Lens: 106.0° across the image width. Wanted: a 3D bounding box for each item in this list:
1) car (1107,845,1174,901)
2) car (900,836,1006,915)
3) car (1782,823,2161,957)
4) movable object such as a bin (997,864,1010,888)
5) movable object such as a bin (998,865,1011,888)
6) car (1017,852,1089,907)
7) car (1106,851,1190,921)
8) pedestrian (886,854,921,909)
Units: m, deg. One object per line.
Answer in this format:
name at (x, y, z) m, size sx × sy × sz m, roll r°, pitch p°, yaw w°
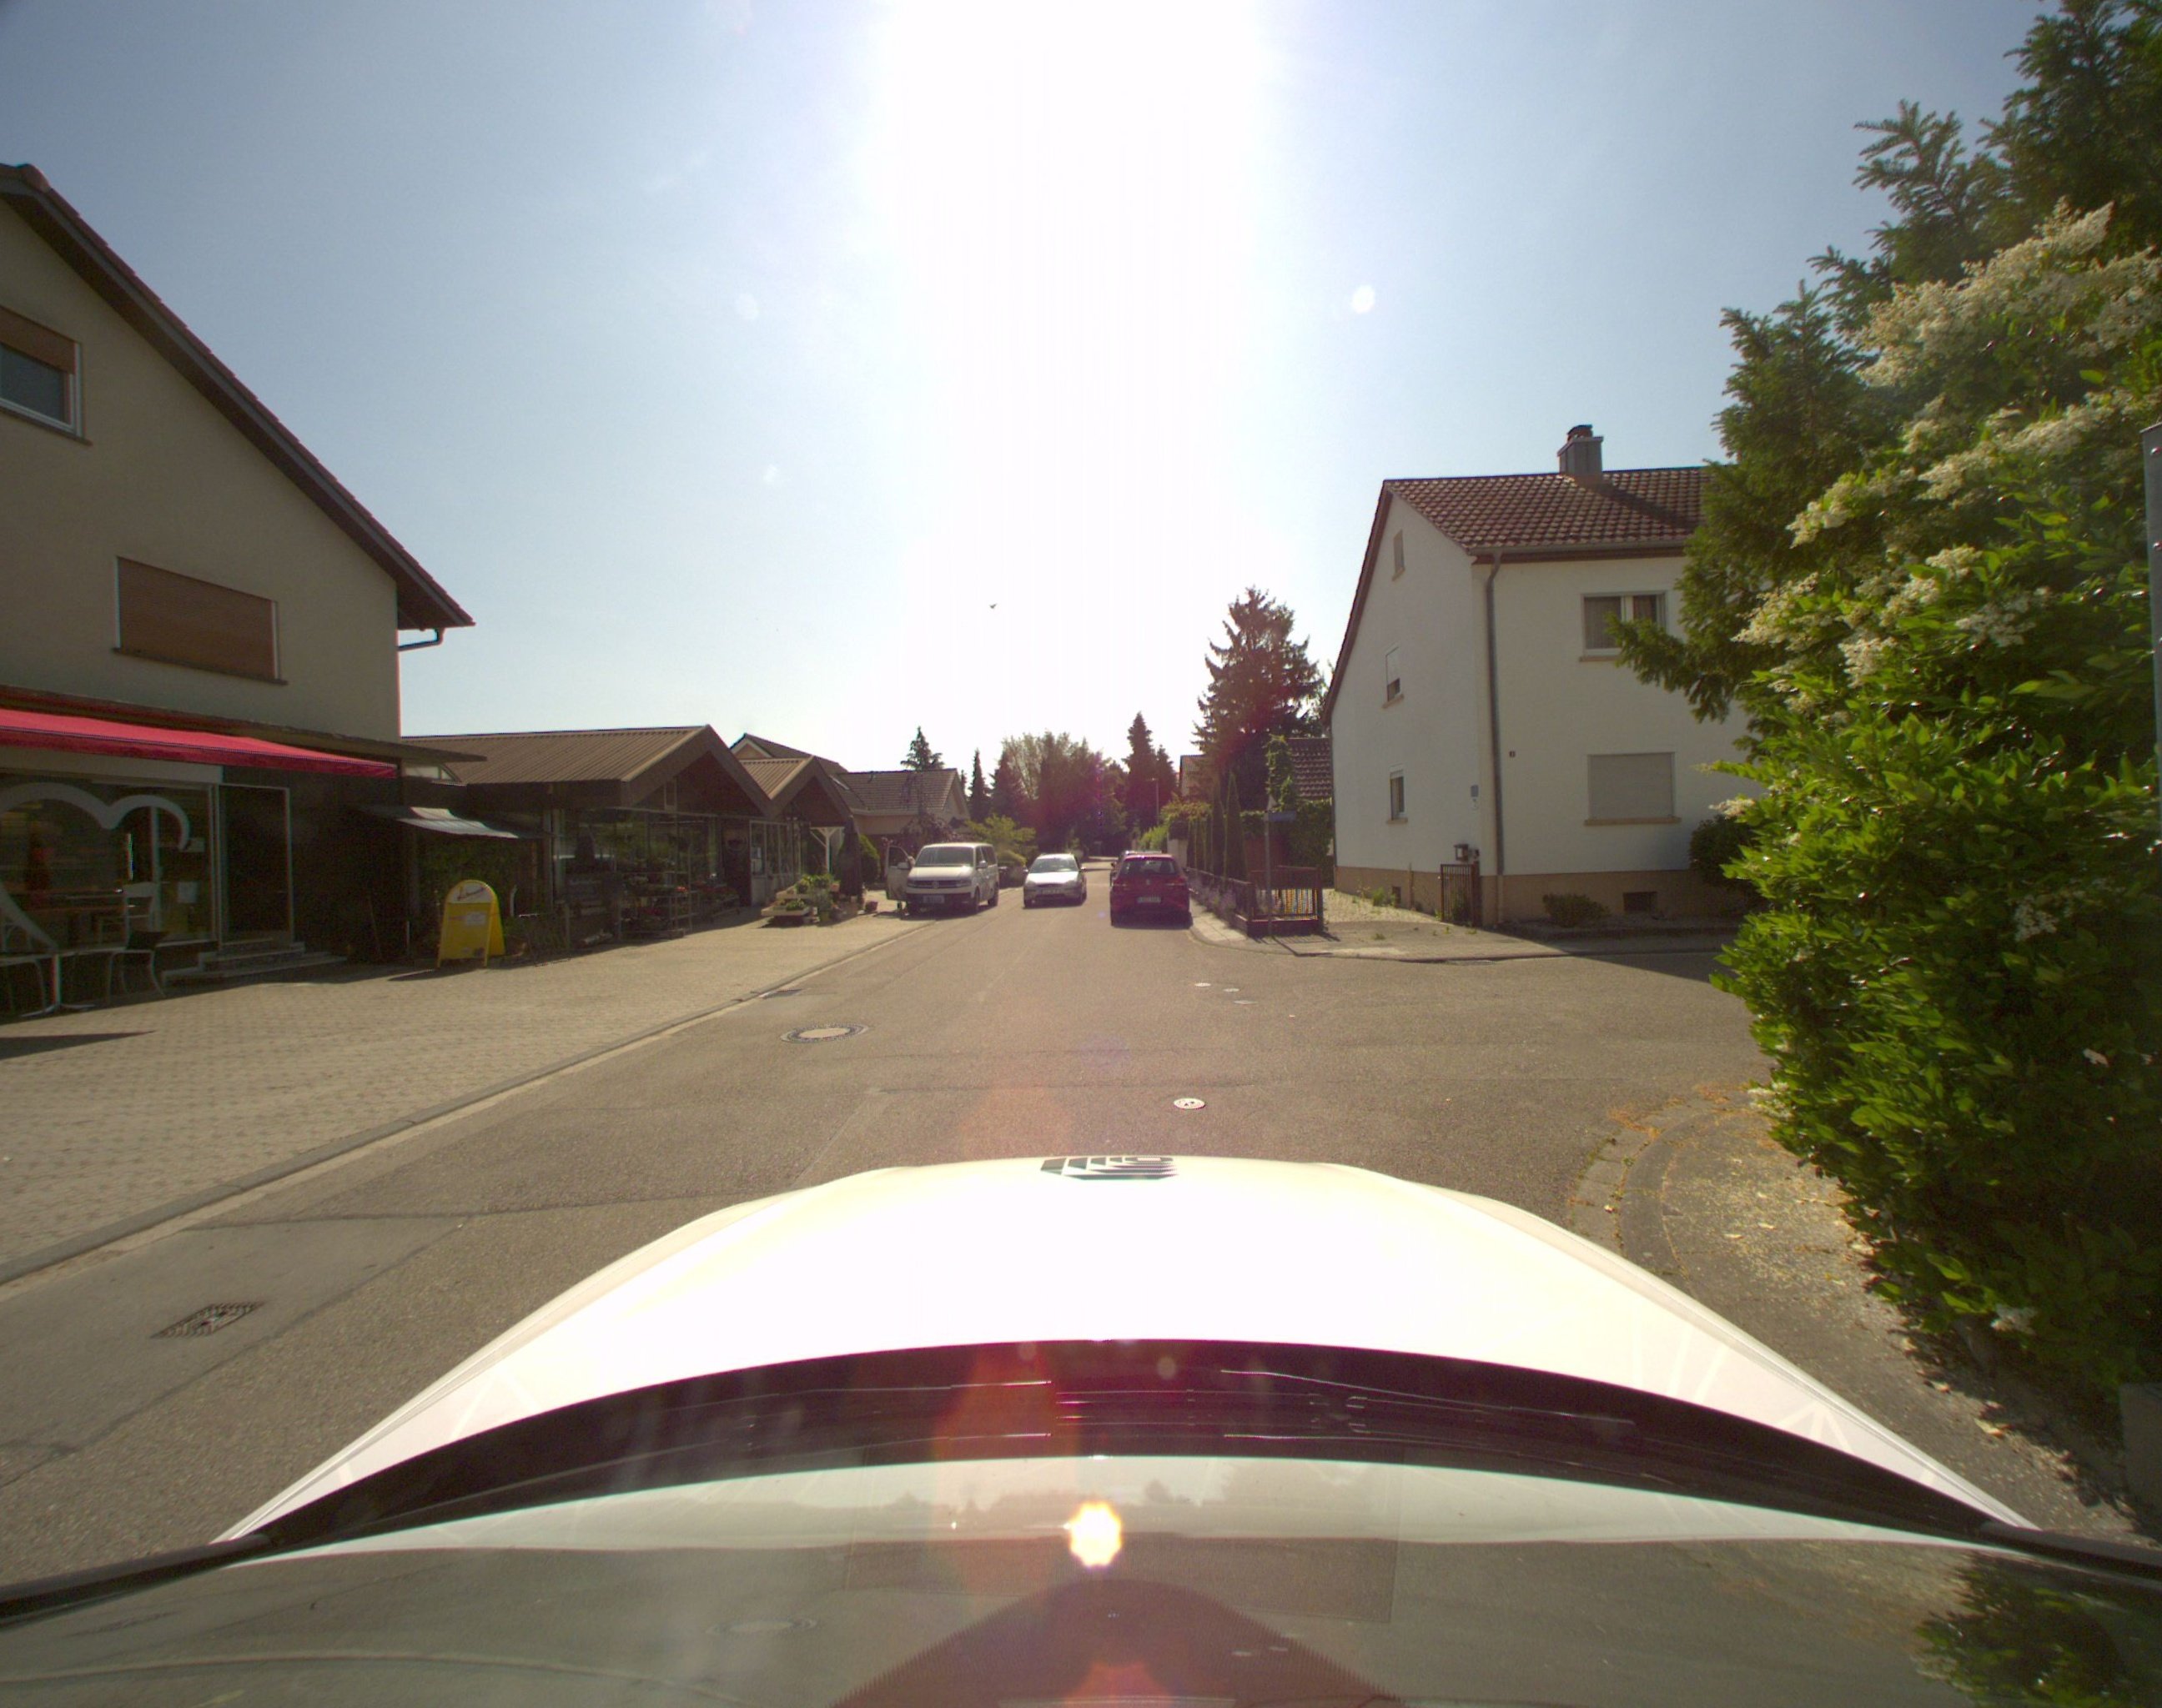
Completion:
car at (1.811, 0.545, 26.001) m, size 1.816 × 1.615 × 3.999 m, roll -1°, pitch 0°, yaw 0°
car at (-3.571, 0.567, 23.729) m, size 1.920 × 2.013 × 4.901 m, roll -2°, pitch 0°, yaw 4°
car at (11.980, 0.416, 10.684) m, size 3.971 × 1.530 × 1.798 m, roll -2°, pitch 0°, yaw 1°
movable object such as a bin at (-3.528, 0.999, 36.883) m, size 0.492 × 1.024 × 0.448 m, roll -2°, pitch 0°, yaw 2°
movable object such as a bin at (-3.502, 1.017, 37.345) m, size 0.492 × 1.024 × 0.448 m, roll -2°, pitch 0°, yaw 2°
car at (-0.779, 0.725, 25.157) m, size 1.745 × 1.487 × 4.379 m, roll -2°, pitch 0°, yaw 3°
car at (1.630, 0.673, 19.233) m, size 1.766 × 1.479 × 4.007 m, roll 0°, pitch 0°, yaw 6°
pedestrian at (-5.137, 0.795, 23.529) m, size 0.710 × 1.538 × 0.646 m, roll -1°, pitch 1°, yaw 36°
